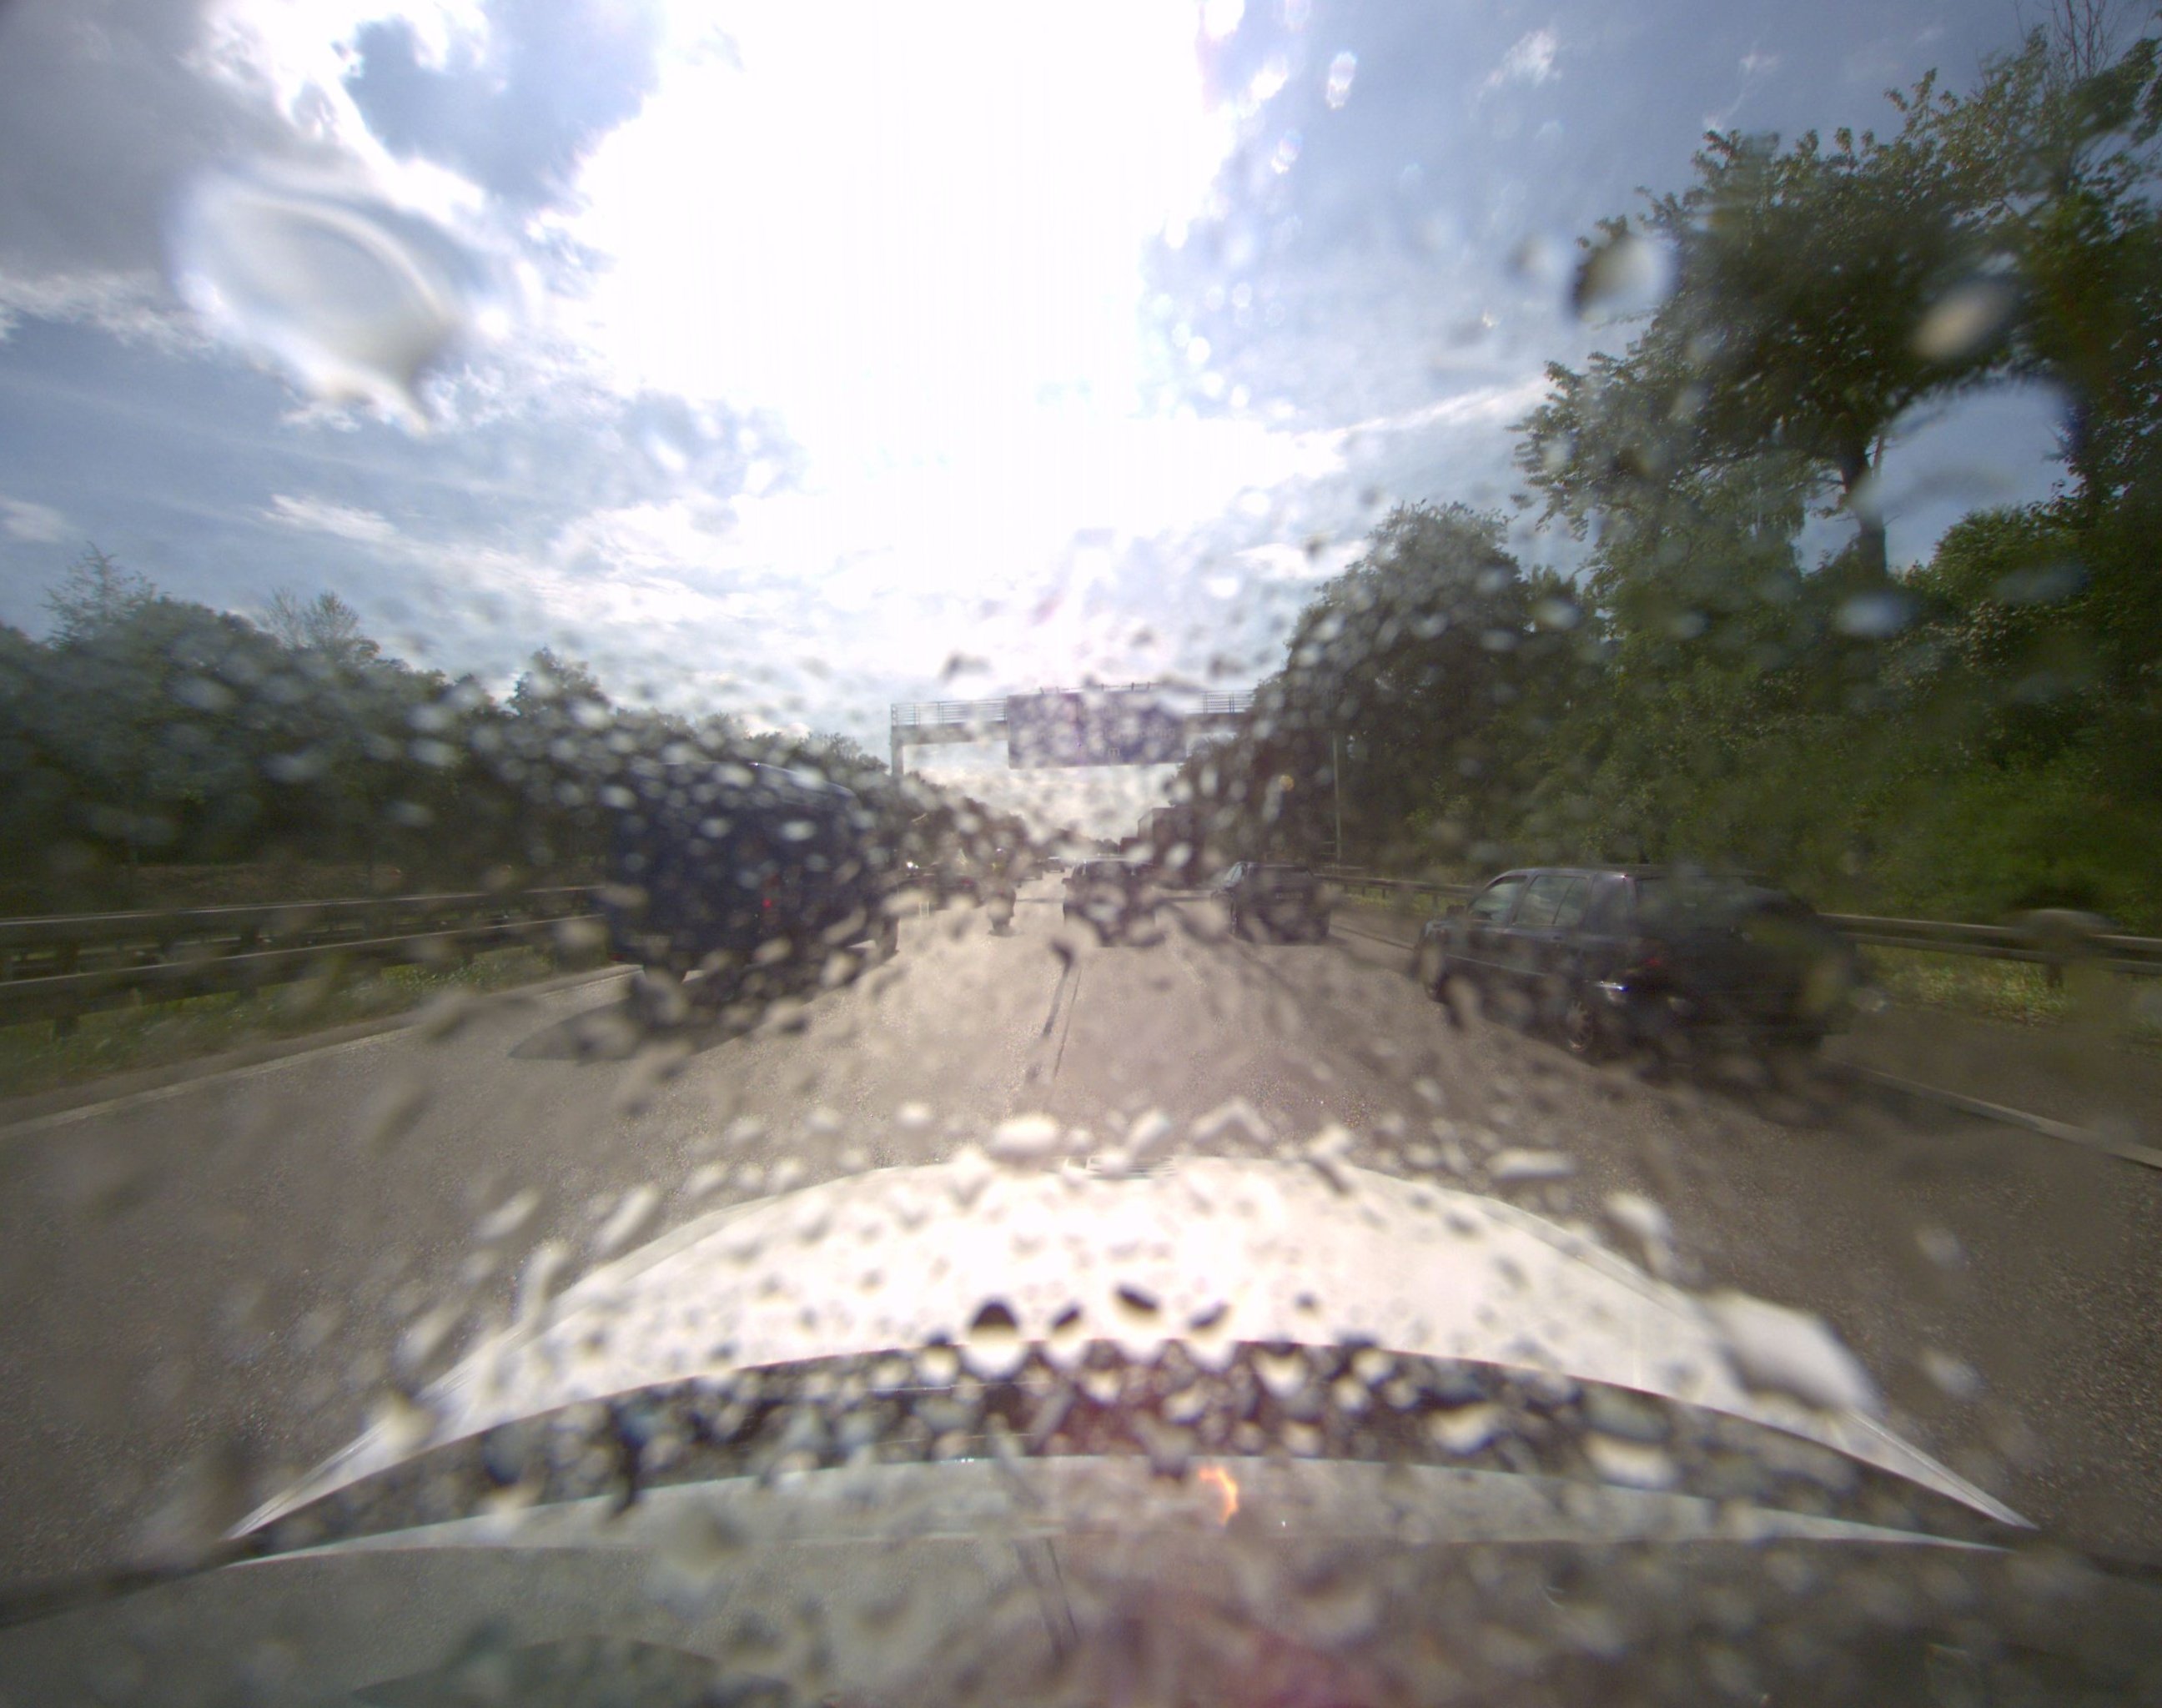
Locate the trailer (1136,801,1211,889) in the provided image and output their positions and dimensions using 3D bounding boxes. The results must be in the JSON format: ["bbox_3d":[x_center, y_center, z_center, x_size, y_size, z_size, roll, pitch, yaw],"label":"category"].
[{"bbox_3d":[5.086,-0.402,47.445,3.077,4.312,14.109,-1,0,1],"label":"trailer"}]

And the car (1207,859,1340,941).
[{"bbox_3d":[3.711,0.824,16.441,1.748,1.396,4.369,-1,0,1],"label":"car"}]

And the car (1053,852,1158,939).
[{"bbox_3d":[0.510,0.769,17.080,1.908,1.565,4.315,-1,0,1],"label":"car"}]

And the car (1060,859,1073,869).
[{"bbox_3d":[-2.128,1.443,118.325,1.669,1.490,3.437,-1,0,1],"label":"car"}]

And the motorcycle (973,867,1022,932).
[{"bbox_3d":[-1.759,0.935,17.494,0.817,1.263,2.117,-1,0,0],"label":"motorcycle"}]

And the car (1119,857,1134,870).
[{"bbox_3d":[5.313,1.068,95.652,1.669,1.490,3.437,-1,0,1],"label":"car"}]

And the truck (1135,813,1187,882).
[{"bbox_3d":[5.304,-0.367,54.695,3.041,4.325,5.888,-1,-1,2],"label":"truck"}]

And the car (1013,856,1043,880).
[{"bbox_3d":[-3.688,0.971,57.331,1.887,1.628,4.193,-1,0,-1],"label":"car"}]

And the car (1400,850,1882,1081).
[{"bbox_3d":[4.345,0.728,7.125,1.645,1.456,3.744,-1,0,0],"label":"car"}]

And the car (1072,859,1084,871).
[{"bbox_3d":[-0.461,1.938,143.321,1.986,2.014,4.001,-1,-1,1],"label":"car"}]

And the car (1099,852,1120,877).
[{"bbox_3d":[2.315,0.864,66.722,1.669,1.936,3.774,-1,0,1],"label":"car"}]

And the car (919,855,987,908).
[{"bbox_3d":[-4.219,0.856,27.372,1.754,1.595,4.326,-1,0,-3],"label":"car"}]

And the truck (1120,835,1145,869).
[{"bbox_3d":[7.053,-0.263,112.612,3.190,4.404,9.437,-1,0,2],"label":"truck"}]

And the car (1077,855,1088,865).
[{"bbox_3d":[0.320,1.241,166.677,1.986,2.014,4.001,-1,-1,1],"label":"car"}]

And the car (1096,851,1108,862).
[{"bbox_3d":[2.872,0.320,111.478,1.626,1.490,3.437,-1,0,1],"label":"car"}]

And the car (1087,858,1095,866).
[{"bbox_3d":[2.468,2.012,208.623,1.986,2.014,4.001,-1,-1,1],"label":"car"}]

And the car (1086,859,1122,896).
[{"bbox_3d":[1.333,1.327,47.151,1.986,2.014,4.001,-1,-1,1],"label":"car"}]

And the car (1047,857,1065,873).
[{"bbox_3d":[-2.591,1.136,85.764,1.669,1.597,3.437,-1,0,1],"label":"car"}]

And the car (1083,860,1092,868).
[{"bbox_3d":[1.540,2.303,189.298,1.986,2.014,4.001,-1,-1,1],"label":"car"}]

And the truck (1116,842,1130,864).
[{"bbox_3d":[9.143,-0.169,178.602,2.871,4.687,12.663,-1,-1,2],"label":"truck"}]

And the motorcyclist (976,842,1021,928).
[{"bbox_3d":[-1.753,0.638,17.480,0.819,1.761,1.390,-1,-1,0],"label":"motorcyclist"}]

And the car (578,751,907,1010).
[{"bbox_3d":[-4.127,0.288,11.329,2.008,2.648,5.778,-1,0,1],"label":"car"}]
